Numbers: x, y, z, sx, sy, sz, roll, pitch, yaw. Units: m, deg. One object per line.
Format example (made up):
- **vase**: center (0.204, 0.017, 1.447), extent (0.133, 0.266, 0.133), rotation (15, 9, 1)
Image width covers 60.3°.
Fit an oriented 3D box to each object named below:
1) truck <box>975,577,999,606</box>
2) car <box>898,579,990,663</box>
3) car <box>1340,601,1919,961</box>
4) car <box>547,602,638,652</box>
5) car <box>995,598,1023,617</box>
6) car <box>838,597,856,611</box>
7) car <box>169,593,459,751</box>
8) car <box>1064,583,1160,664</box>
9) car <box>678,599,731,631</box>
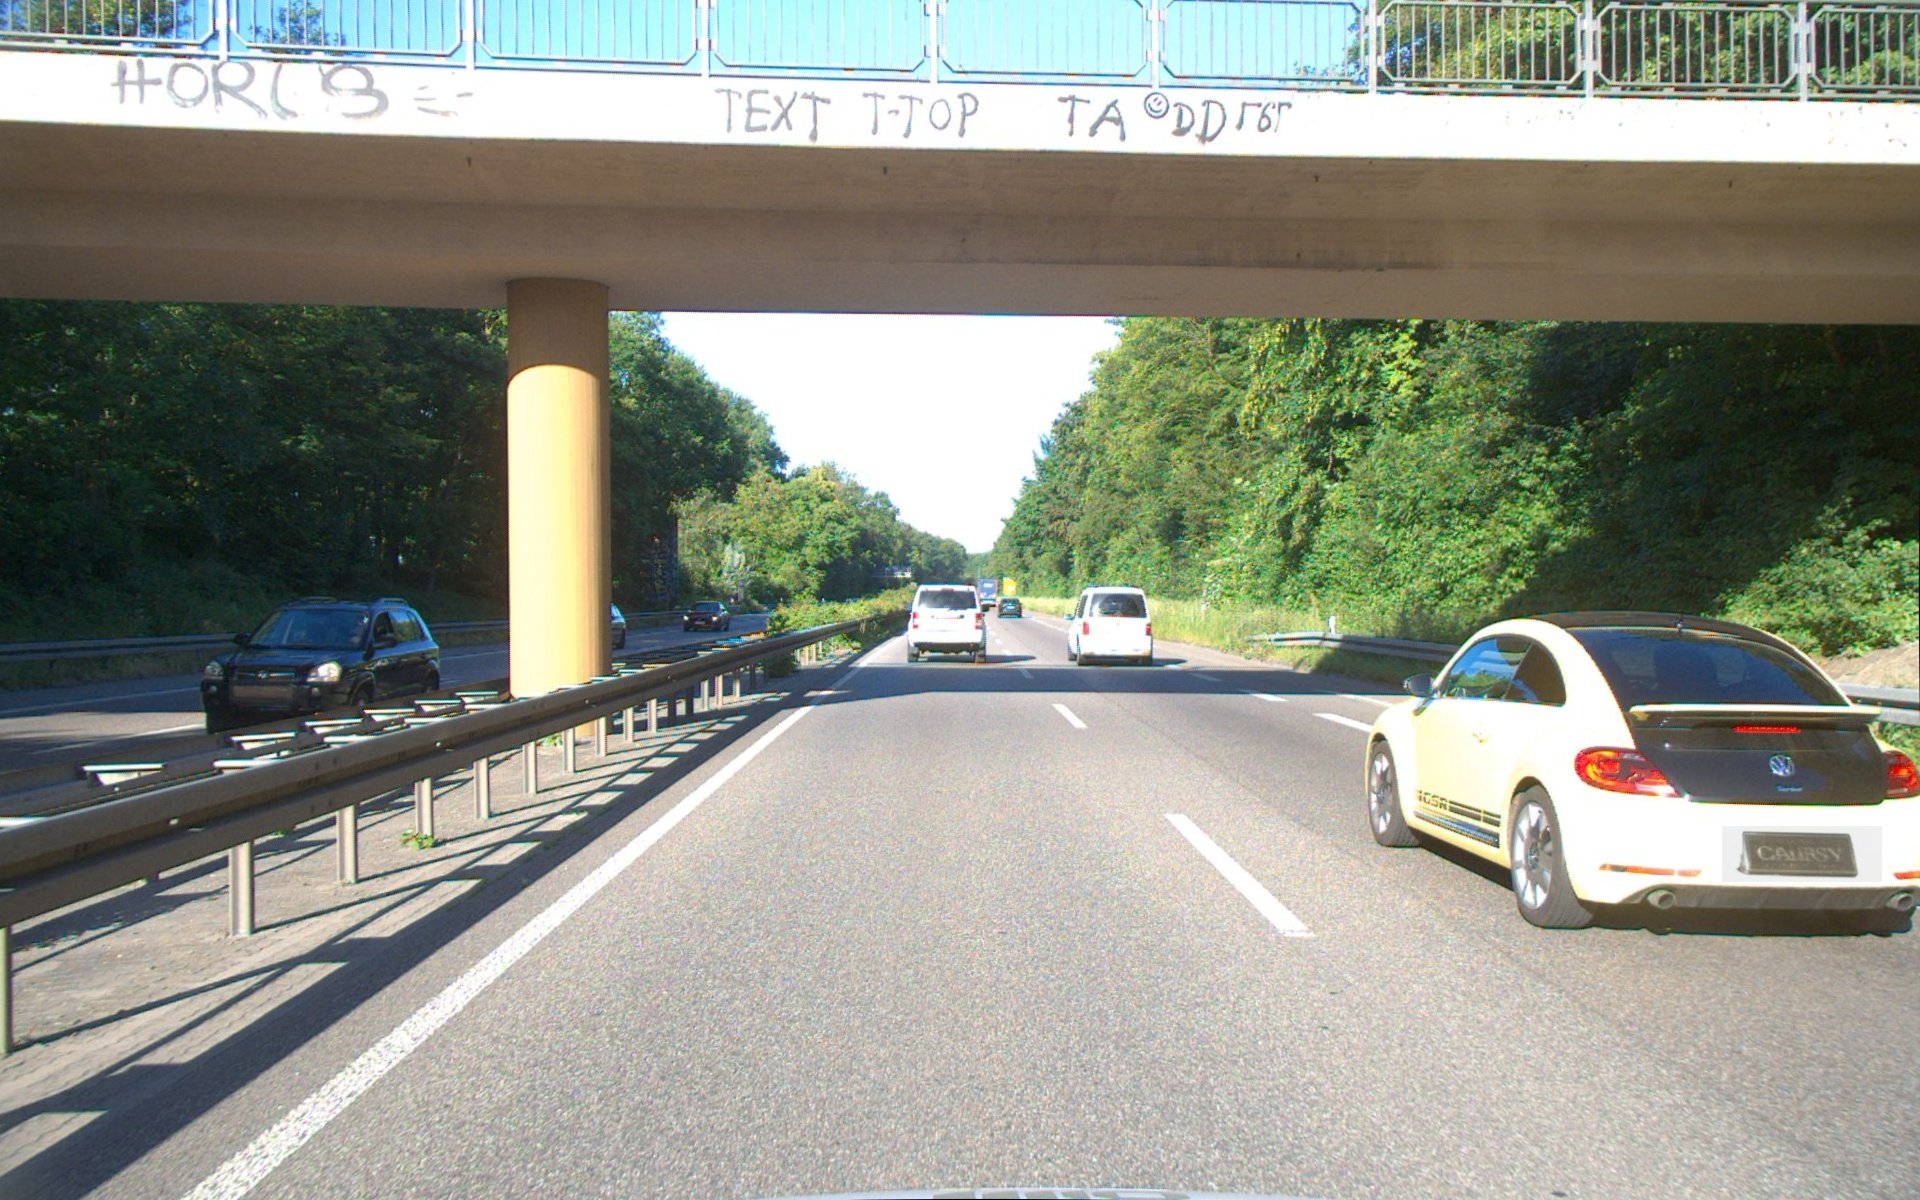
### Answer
- **truck**: center (4.026, -1.242, 245.289), extent (3.424, 4.246, 8.861), rotation (0, 0, 0)
- **car**: center (-0.424, 0.465, 39.071), extent (2.043, 1.860, 3.999), rotation (1, 0, -2)
- **car**: center (3.605, 0.772, 9.153), extent (1.842, 1.487, 4.354), rotation (1, 0, -2)
- **car**: center (-11.907, 0.846, 53.918), extent (1.921, 1.475, 4.705), rotation (2, 0, -1)
- **car**: center (3.672, 0.551, 123.837), extent (1.953, 1.422, 4.000), rotation (0, 0, 0)
- **car**: center (-12.527, 0.431, 183.523), extent (1.921, 1.475, 4.505), rotation (1, 0, -2)
- **car**: center (-7.959, 0.796, 20.895), extent (1.921, 1.754, 4.591), rotation (-1, 0, -1)
- **car**: center (3.557, 0.518, 39.338), extent (1.825, 1.801, 4.469), rotation (0, 0, -1)
- **car**: center (-12.548, 0.706, 81.452), extent (1.921, 1.475, 4.583), rotation (1, 0, -1)
